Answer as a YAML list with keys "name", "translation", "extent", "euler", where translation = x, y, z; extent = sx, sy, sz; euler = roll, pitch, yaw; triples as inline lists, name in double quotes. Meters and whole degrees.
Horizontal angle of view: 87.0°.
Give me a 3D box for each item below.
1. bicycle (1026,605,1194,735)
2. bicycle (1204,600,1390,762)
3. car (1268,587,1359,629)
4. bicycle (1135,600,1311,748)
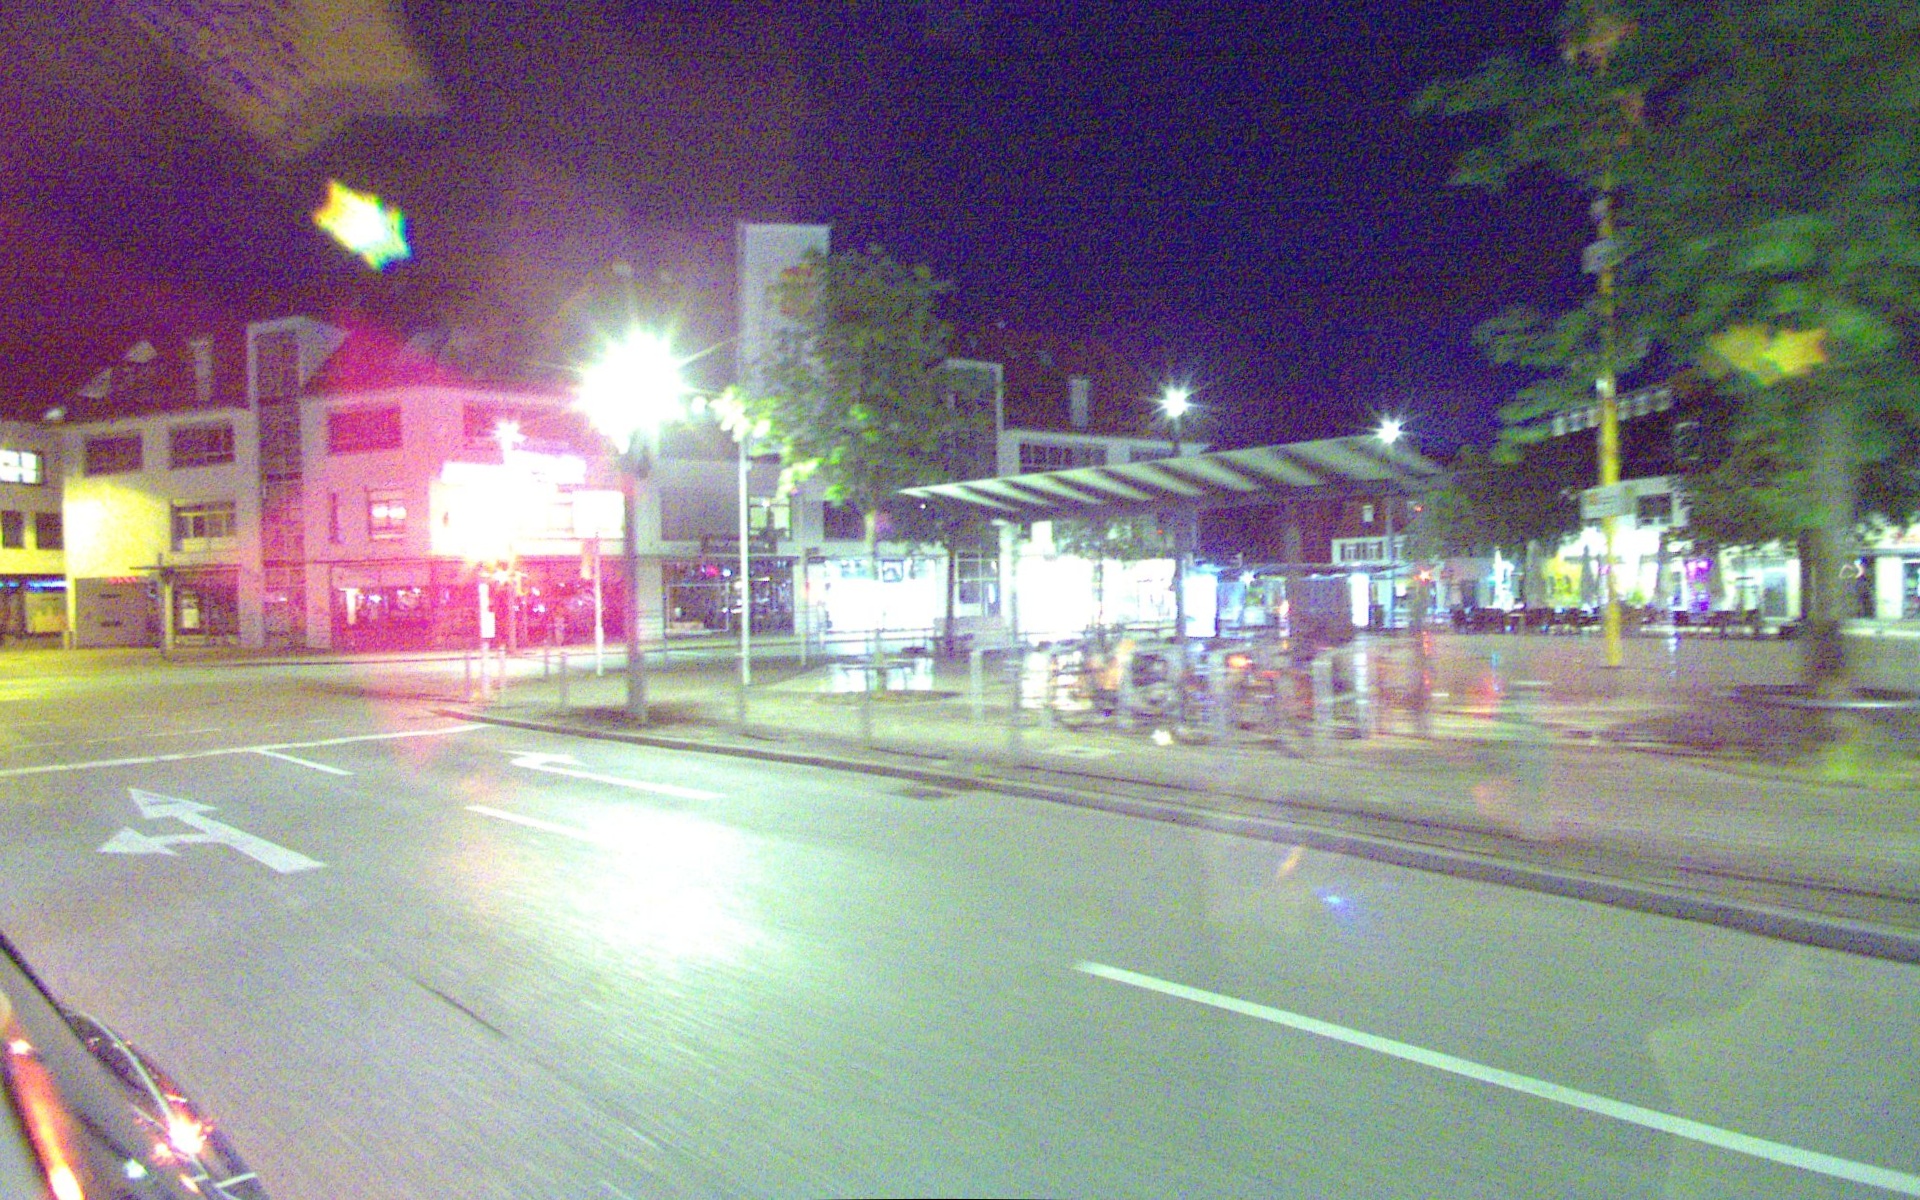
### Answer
- name: "bicycle"
  translation: [1.624, 0.687, 10.757]
  extent: [1.813, 1.166, 0.788]
  euler: [-4, 3, -44]
- name: "bicycle"
  translation: [2.969, 0.648, 8.828]
  extent: [1.715, 1.175, 0.787]
  euler: [-4, 2, -44]
- name: "car"
  translation: [17.357, 0.377, 49.582]
  extent: [4.344, 1.951, 1.965]
  euler: [-1, -2, -34]
- name: "bicycle"
  translation: [2.494, 0.627, 9.479]
  extent: [1.715, 1.166, 0.788]
  euler: [-4, 3, -44]
